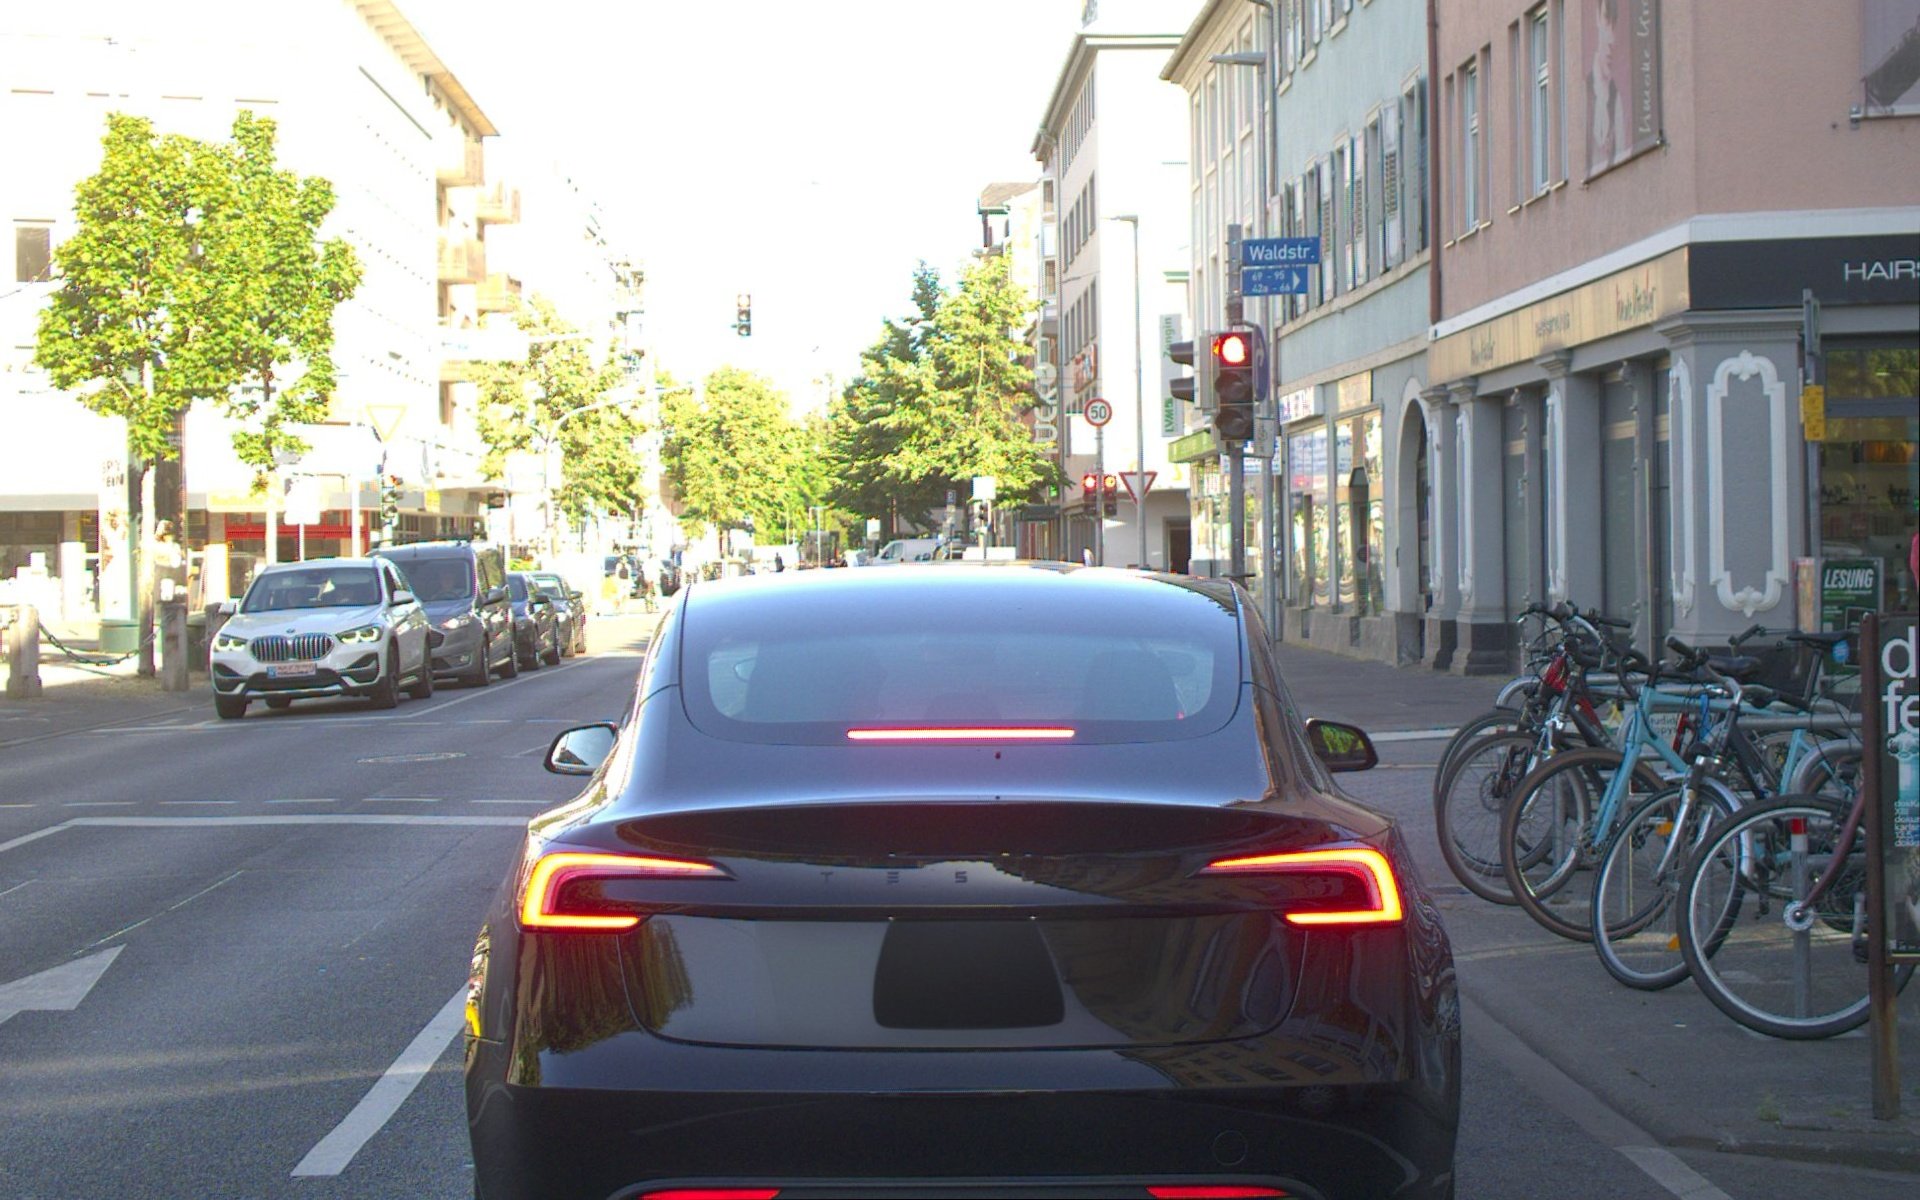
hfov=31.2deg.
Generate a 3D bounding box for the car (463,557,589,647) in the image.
[{"bbox_3d":[-7.130,0.024,56.747,1.693,1.385,3.916,-2,0,-2],"label":"car"}]

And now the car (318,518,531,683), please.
[{"bbox_3d":[-6.572,-0.033,42.664,1.945,1.940,4.820,0,1,-1],"label":"car"}]

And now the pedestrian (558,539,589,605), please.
[{"bbox_3d":[-10.917,-0.796,97.069,0.732,1.861,0.791,1,0,-17],"label":"pedestrian"}]

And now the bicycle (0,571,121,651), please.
[{"bbox_3d":[-14.694,0.166,54.566,2.542,1.247,0.943,1,0,-3],"label":"bicycle"}]

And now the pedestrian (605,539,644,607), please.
[{"bbox_3d":[-9.222,-0.748,94.631,0.734,1.861,0.789,1,0,28],"label":"pedestrian"}]

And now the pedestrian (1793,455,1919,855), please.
[{"bbox_3d":[4.453,0.235,15.128,1.059,1.714,1.112,0,1,-44],"label":"pedestrian"}]

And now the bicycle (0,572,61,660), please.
[{"bbox_3d":[-14.488,0.220,49.866,2.662,1.255,0.943,1,0,-3],"label":"bicycle"}]

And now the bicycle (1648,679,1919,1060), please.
[{"bbox_3d":[3.026,0.760,10.051,1.882,1.040,0.653,-1,1,1],"label":"bicycle"}]

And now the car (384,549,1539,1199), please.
[{"bbox_3d":[-0.024,0.629,7.774,1.850,1.442,4.452,1,1,-1],"label":"car"}]

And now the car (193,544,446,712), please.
[{"bbox_3d":[-6.687,0.256,36.341,1.825,1.559,4.301,-4,1,-1],"label":"car"}]

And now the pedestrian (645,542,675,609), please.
[{"bbox_3d":[-8.378,-0.692,96.092,0.694,1.861,0.910,1,0,-12],"label":"pedestrian"}]

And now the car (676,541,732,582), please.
[{"bbox_3d":[-12.392,-1.865,166.452,2.414,1.963,4.678,0,1,-1],"label":"car"}]

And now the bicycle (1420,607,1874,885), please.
[{"bbox_3d":[2.922,0.613,14.737,1.813,1.148,0.653,0,1,1],"label":"bicycle"}]

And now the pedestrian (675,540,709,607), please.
[{"bbox_3d":[-7.465,-0.735,95.758,0.774,1.861,1.009,1,0,-13],"label":"pedestrian"}]

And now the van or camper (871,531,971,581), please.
[{"bbox_3d":[-1.898,-2.129,167.549,4.850,2.430,1.851,0,1,-1],"label":"van or camper"}]

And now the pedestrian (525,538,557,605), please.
[{"bbox_3d":[-11.822,-0.808,96.968,0.732,1.861,0.791,1,0,-17],"label":"pedestrian"}]

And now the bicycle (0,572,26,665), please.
[{"bbox_3d":[-14.487,0.238,47.547,2.875,1.266,0.943,1,0,-3],"label":"bicycle"}]

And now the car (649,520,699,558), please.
[{"bbox_3d":[-15.645,-3.351,188.282,2.275,2.007,4.717,1,1,1],"label":"car"}]

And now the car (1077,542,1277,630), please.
[{"bbox_3d":[4.709,-0.322,74.676,3.992,1.861,1.698,0,1,-21],"label":"car"}]

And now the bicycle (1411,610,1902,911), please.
[{"bbox_3d":[2.731,0.621,13.602,1.813,1.148,0.653,0,1,1],"label":"bicycle"}]

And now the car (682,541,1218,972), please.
[{"bbox_3d":[-0.060,0.525,14.199,1.850,1.476,4.452,1,1,-1],"label":"car"}]

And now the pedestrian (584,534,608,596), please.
[{"bbox_3d":[-10.994,-1.071,103.879,0.695,1.861,0.659,1,0,-5],"label":"pedestrian"}]

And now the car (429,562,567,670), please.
[{"bbox_3d":[-6.654,0.207,49.798,1.461,1.425,3.606,-4,1,-1],"label":"car"}]

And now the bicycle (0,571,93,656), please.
[{"bbox_3d":[-14.533,0.192,52.141,2.542,1.247,0.943,1,0,-3],"label":"bicycle"}]

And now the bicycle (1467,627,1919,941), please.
[{"bbox_3d":[2.800,0.657,12.529,1.813,1.098,0.653,0,1,1],"label":"bicycle"}]

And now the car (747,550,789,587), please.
[{"bbox_3d":[-10.439,-1.736,187.135,2.132,1.963,4.134,0,1,-1],"label":"car"}]

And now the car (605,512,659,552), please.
[{"bbox_3d":[-17.122,-3.531,179.643,2.275,2.007,4.717,1,1,1],"label":"car"}]

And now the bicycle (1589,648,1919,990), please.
[{"bbox_3d":[2.999,0.693,11.122,1.813,1.056,0.653,0,1,1],"label":"bicycle"}]
